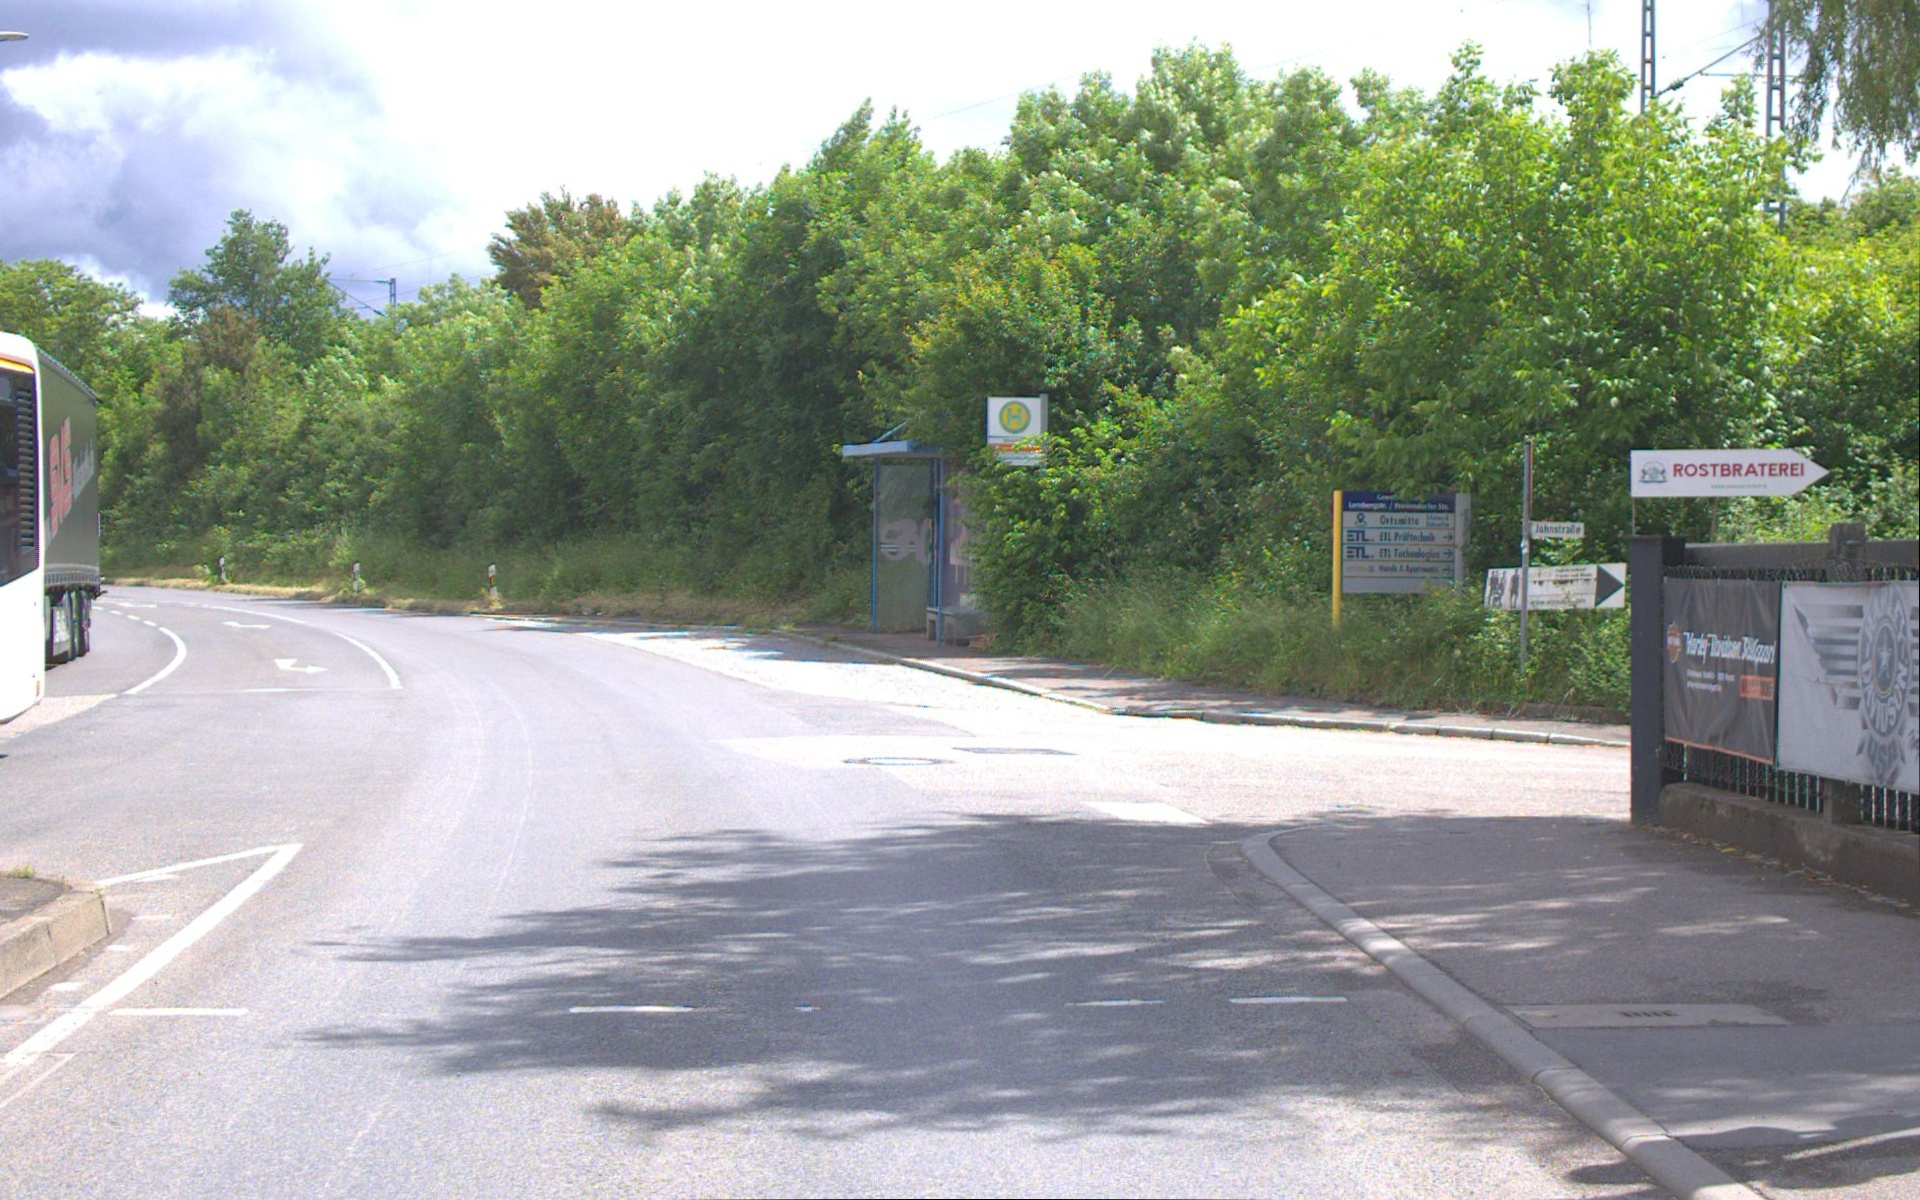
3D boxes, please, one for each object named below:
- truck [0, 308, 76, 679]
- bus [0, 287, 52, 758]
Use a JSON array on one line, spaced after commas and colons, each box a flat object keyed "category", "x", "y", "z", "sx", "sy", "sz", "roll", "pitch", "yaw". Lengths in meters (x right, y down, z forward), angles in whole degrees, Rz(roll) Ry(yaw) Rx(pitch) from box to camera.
[{"category": "truck", "x": -12.190, "y": -1.235, "z": 40.175, "sx": 2.428, "sy": 4.117, "sz": 9.152, "roll": 2, "pitch": 0, "yaw": -8}, {"category": "bus", "x": -7.958, "y": -0.470, "z": 19.067, "sx": 2.777, "sy": 3.255, "sz": 12.124, "roll": 0, "pitch": 1, "yaw": -1}]
